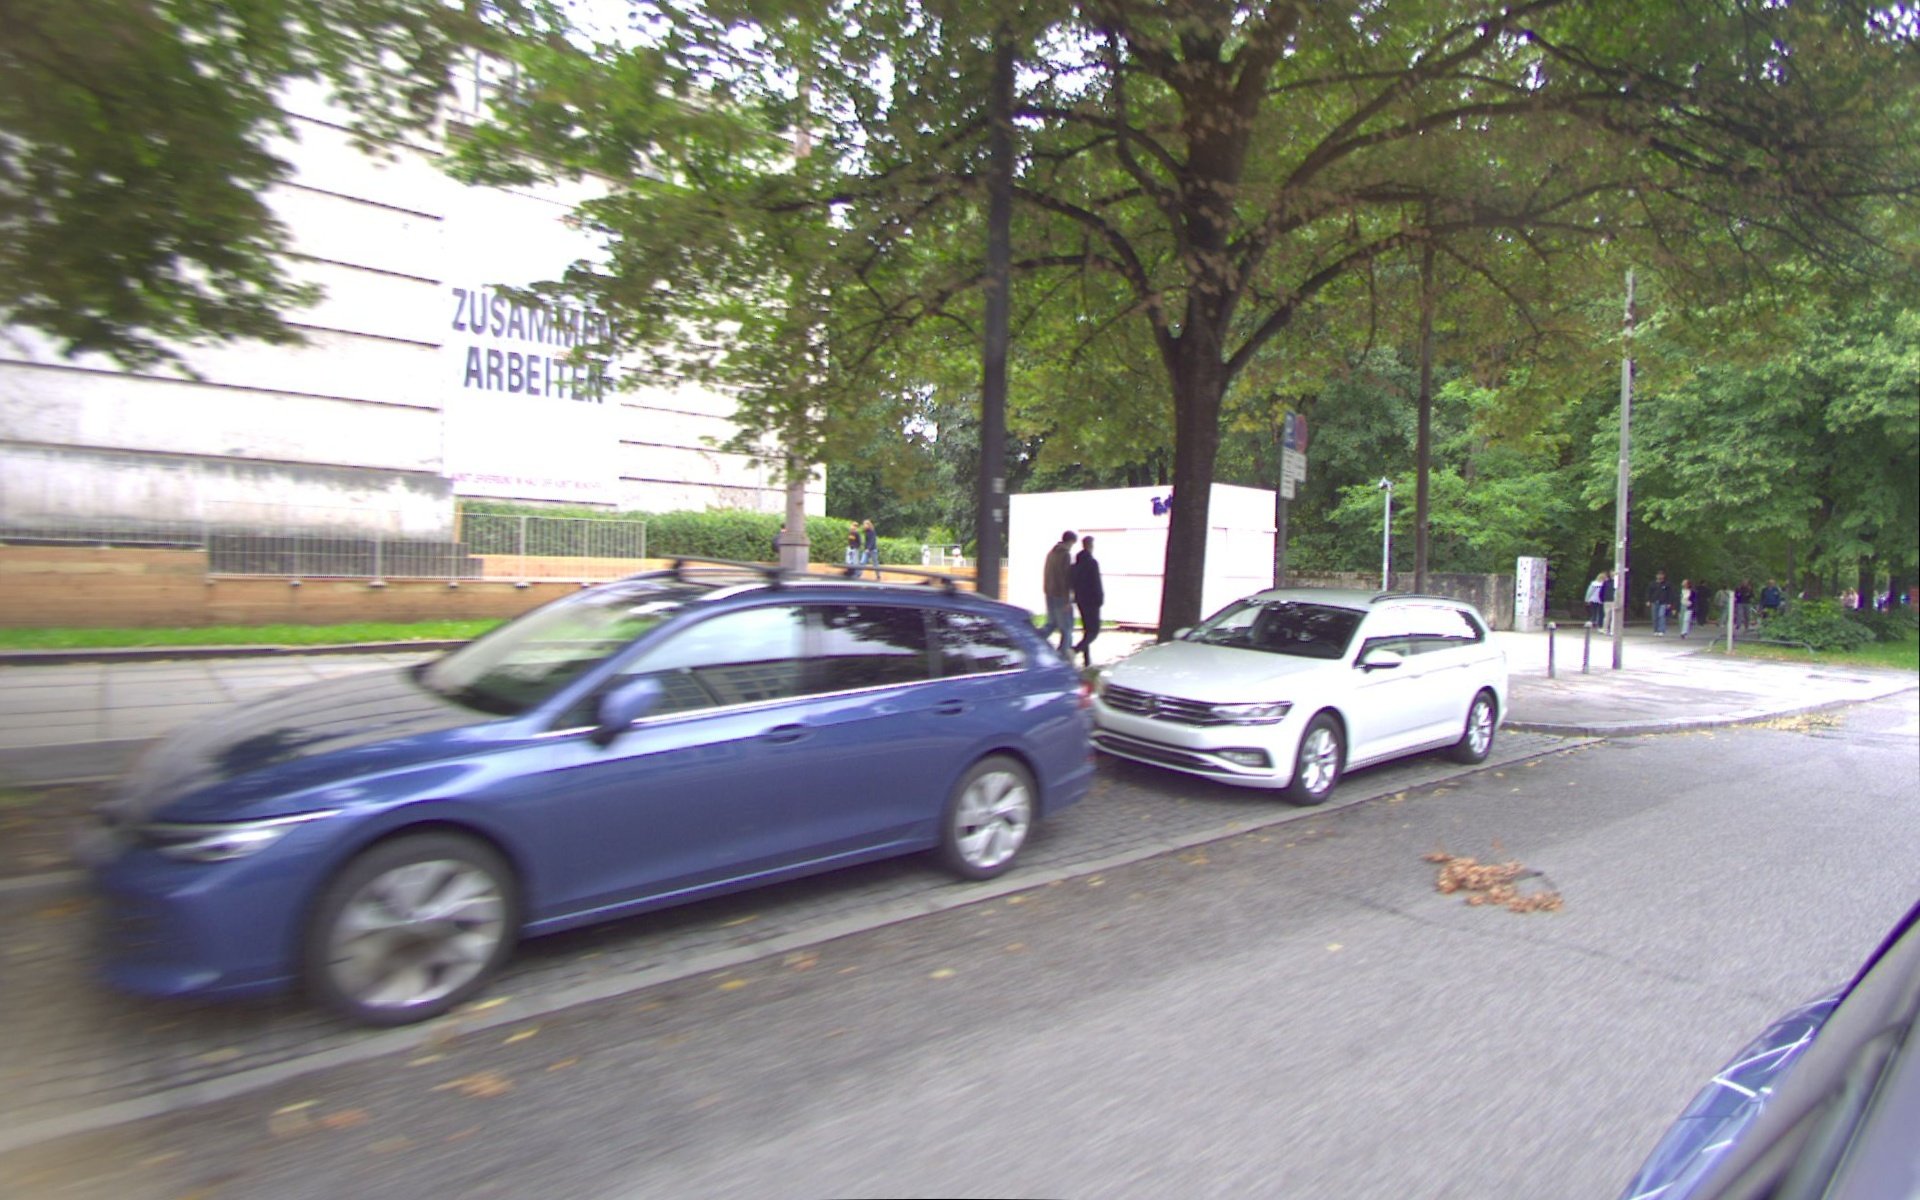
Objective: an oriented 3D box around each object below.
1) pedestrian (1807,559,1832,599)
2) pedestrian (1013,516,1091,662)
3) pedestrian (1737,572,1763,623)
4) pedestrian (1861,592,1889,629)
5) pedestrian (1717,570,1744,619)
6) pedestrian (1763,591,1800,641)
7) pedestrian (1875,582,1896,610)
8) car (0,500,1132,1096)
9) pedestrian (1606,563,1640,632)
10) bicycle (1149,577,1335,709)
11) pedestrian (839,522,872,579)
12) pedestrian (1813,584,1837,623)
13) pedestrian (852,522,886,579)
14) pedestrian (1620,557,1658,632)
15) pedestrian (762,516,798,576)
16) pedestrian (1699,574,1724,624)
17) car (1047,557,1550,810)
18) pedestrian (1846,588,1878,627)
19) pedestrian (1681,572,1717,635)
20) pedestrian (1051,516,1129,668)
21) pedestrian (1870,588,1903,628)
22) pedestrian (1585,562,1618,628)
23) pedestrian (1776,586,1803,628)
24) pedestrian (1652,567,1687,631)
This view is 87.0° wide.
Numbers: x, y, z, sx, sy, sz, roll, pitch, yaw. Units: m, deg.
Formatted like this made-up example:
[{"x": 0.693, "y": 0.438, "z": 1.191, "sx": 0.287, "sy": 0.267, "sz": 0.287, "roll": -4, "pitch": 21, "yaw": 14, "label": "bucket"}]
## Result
[{"x": 33.703, "y": -0.812, "z": 39.689, "sx": 0.552, "sy": 1.534, "sz": 0.682, "roll": 0, "pitch": 0, "yaw": -39, "label": "pedestrian"}, {"x": 1.267, "y": -0.151, "z": 14.027, "sx": 0.757, "sy": 1.934, "sz": 0.765, "roll": 0, "pitch": 0, "yaw": -40, "label": "pedestrian"}, {"x": 28.582, "y": -0.088, "z": 36.622, "sx": 0.834, "sy": 1.845, "sz": 0.589, "roll": 0, "pitch": 0, "yaw": -40, "label": "pedestrian"}, {"x": 41.997, "y": 0.476, "z": 46.442, "sx": 0.637, "sy": 1.664, "sz": 0.758, "roll": 0, "pitch": 0, "yaw": -25, "label": "pedestrian"}, {"x": 28.995, "y": -0.205, "z": 38.095, "sx": 0.767, "sy": 1.796, "sz": 0.632, "roll": 0, "pitch": 0, "yaw": -37, "label": "pedestrian"}, {"x": 29.353, "y": 0.562, "z": 36.163, "sx": 0.832, "sy": 1.759, "sz": 0.758, "roll": 0, "pitch": 0, "yaw": -25, "label": "pedestrian"}, {"x": 56.980, "y": -0.265, "z": 62.310, "sx": 0.715, "sy": 1.712, "sz": 0.814, "roll": 0, "pitch": 1, "yaw": -38, "label": "pedestrian"}, {"x": -1.348, "y": 0.483, "z": 4.762, "sx": 4.504, "sy": 1.569, "sz": 1.728, "roll": 0, "pitch": 2, "yaw": -40, "label": "car"}, {"x": 18.103, "y": -0.076, "z": 27.638, "sx": 0.590, "sy": 1.831, "sz": 0.718, "roll": 4, "pitch": 3, "yaw": 26, "label": "pedestrian"}, {"x": 3.039, "y": 0.404, "z": 10.699, "sx": 2.574, "sy": 1.246, "sz": 0.629, "roll": 0, "pitch": 0, "yaw": -43, "label": "bicycle"}, {"x": -2.846, "y": -1.326, "z": 27.570, "sx": 0.757, "sy": 1.513, "sz": 0.488, "roll": 0, "pitch": 0, "yaw": -40, "label": "pedestrian"}, {"x": 42.440, "y": 0.190, "z": 49.646, "sx": 0.683, "sy": 1.896, "sz": 0.608, "roll": 0, "pitch": 0, "yaw": 15, "label": "pedestrian"}, {"x": -2.449, "y": -1.321, "z": 27.216, "sx": 0.757, "sy": 1.513, "sz": 0.488, "roll": 0, "pitch": 0, "yaw": -40, "label": "pedestrian"}, {"x": 18.987, "y": -0.168, "z": 28.292, "sx": 0.711, "sy": 2.038, "sz": 0.596, "roll": 0, "pitch": 3, "yaw": -40, "label": "pedestrian"}, {"x": -4.705, "y": -1.401, "z": 26.458, "sx": 0.757, "sy": 1.513, "sz": 0.488, "roll": 0, "pitch": 0, "yaw": -40, "label": "pedestrian"}, {"x": 26.205, "y": -0.036, "z": 35.301, "sx": 0.543, "sy": 1.696, "sz": 0.582, "roll": 0, "pitch": 0, "yaw": -37, "label": "pedestrian"}, {"x": 3.048, "y": 0.491, "z": 8.545, "sx": 4.667, "sy": 1.569, "sz": 1.832, "roll": 0, "pitch": 2, "yaw": -40, "label": "car"}, {"x": 38.368, "y": 0.316, "z": 43.039, "sx": 0.832, "sy": 1.664, "sz": 0.758, "roll": 0, "pitch": 0, "yaw": -25, "label": "pedestrian"}, {"x": 20.559, "y": 0.091, "z": 28.160, "sx": 0.739, "sy": 1.702, "sz": 0.609, "roll": 0, "pitch": 0, "yaw": -37, "label": "pedestrian"}, {"x": 1.719, "y": -0.111, "z": 13.379, "sx": 0.757, "sy": 1.934, "sz": 0.701, "roll": 0, "pitch": 0, "yaw": -40, "label": "pedestrian"}, {"x": 38.728, "y": 0.324, "z": 42.295, "sx": 0.832, "sy": 1.664, "sz": 0.758, "roll": 0, "pitch": 0, "yaw": -25, "label": "pedestrian"}, {"x": 18.227, "y": -0.158, "z": 28.770, "sx": 0.590, "sy": 1.831, "sz": 0.718, "roll": 4, "pitch": 3, "yaw": 26, "label": "pedestrian"}, {"x": 33.528, "y": 0.267, "z": 40.905, "sx": 0.590, "sy": 1.658, "sz": 0.682, "roll": 0, "pitch": 2, "yaw": -39, "label": "pedestrian"}, {"x": 20.093, "y": -0.025, "z": 28.659, "sx": 0.782, "sy": 1.786, "sz": 0.609, "roll": 0, "pitch": 0, "yaw": -37, "label": "pedestrian"}]
